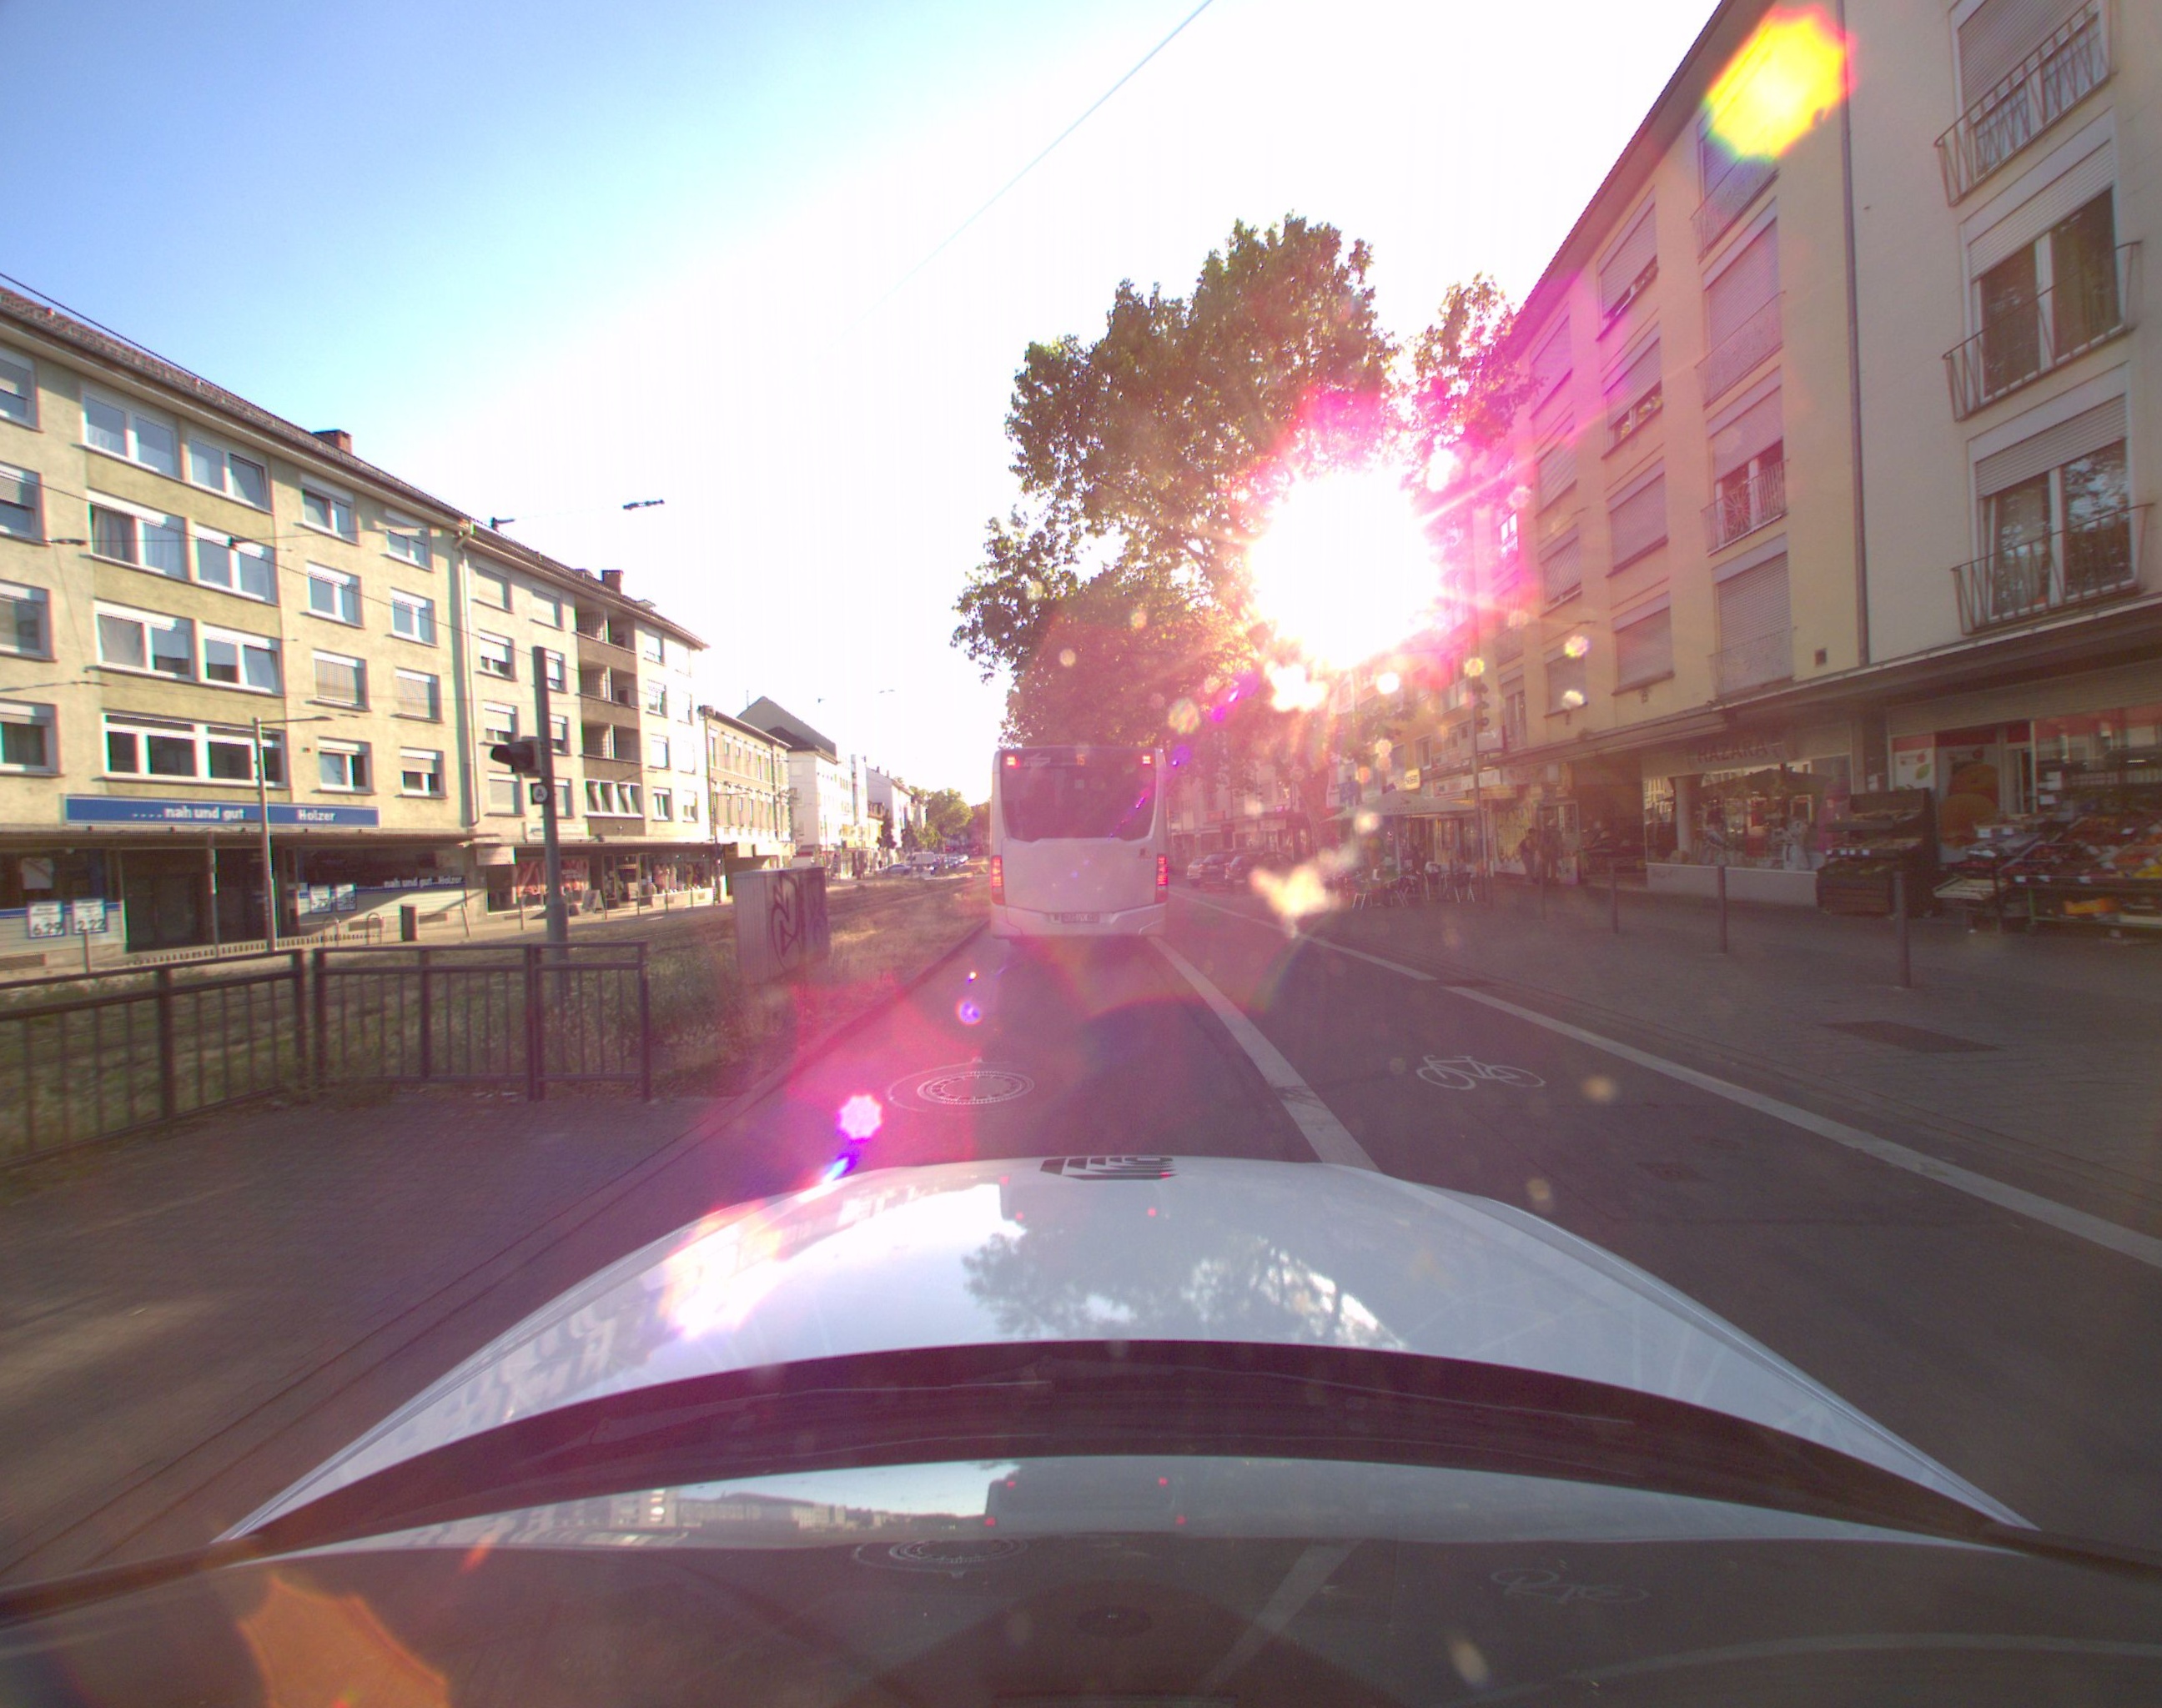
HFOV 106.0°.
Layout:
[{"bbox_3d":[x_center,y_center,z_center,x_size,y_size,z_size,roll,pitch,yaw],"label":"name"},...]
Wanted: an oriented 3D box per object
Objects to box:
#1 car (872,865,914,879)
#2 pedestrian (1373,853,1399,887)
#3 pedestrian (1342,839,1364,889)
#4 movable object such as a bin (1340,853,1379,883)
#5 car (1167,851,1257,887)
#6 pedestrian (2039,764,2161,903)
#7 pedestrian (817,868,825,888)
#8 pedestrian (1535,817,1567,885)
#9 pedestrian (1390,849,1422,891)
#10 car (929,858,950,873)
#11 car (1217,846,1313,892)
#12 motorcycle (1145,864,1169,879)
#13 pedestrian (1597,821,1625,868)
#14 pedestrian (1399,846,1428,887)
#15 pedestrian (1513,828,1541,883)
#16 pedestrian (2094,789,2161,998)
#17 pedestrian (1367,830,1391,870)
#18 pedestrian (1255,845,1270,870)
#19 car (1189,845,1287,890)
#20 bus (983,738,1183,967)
[{"bbox_3d":[-22.853,2.190,98.940,4.574,1.412,1.977,-2,0,-38],"label":"car"},{"bbox_3d":[10.019,0.521,26.760,0.581,1.115,0.750,-1,0,-1],"label":"pedestrian"},{"bbox_3d":[10.169,0.386,30.466,0.518,1.832,0.471,-2,-1,-23],"label":"pedestrian"},{"bbox_3d":[9.544,0.469,27.932,0.930,1.023,0.833,-1,0,-23],"label":"movable object such as a bin"},{"bbox_3d":[6.170,0.696,38.104,4.199,1.451,1.788,-2,0,-39],"label":"car"},{"bbox_3d":[13.422,-0.257,10.668,0.681,1.744,0.881,-1,0,2],"label":"pedestrian"},{"bbox_3d":[-22.662,2.084,70.988,0.424,1.713,0.508,-3,-1,2],"label":"pedestrian"},{"bbox_3d":[12.690,-0.081,21.984,0.629,1.804,0.631,-3,-1,34],"label":"pedestrian"},{"bbox_3d":[9.731,0.472,24.400,0.604,1.225,0.745,-2,0,-1],"label":"pedestrian"},{"bbox_3d":[-15.975,1.323,92.040,1.717,1.509,3.475,-5,0,0],"label":"car"},{"bbox_3d":[6.947,0.561,30.592,3.628,1.540,1.721,-2,0,-42],"label":"car"},{"bbox_3d":[5.174,1.179,55.502,1.567,0.892,0.544,-3,0,-5],"label":"motorcycle"},{"bbox_3d":[15.019,-0.275,23.080,0.424,1.296,0.508,-3,0,2],"label":"pedestrian"},{"bbox_3d":[10.621,0.387,26.038,0.581,1.275,0.758,-1,0,-1],"label":"pedestrian"},{"bbox_3d":[12.921,0.044,23.598,0.618,1.546,0.641,-3,-1,29],"label":"pedestrian"},{"bbox_3d":[8.514,0.284,6.221,0.632,1.586,0.627,-5,-1,4],"label":"pedestrian"},{"bbox_3d":[14.001,-0.196,38.268,0.703,1.791,0.789,-6,-1,4],"label":"pedestrian"},{"bbox_3d":[12.942,0.252,58.086,0.778,1.794,0.764,-2,0,-1],"label":"pedestrian"},{"bbox_3d":[6.552,0.536,33.827,4.174,1.681,1.788,-2,0,-42],"label":"car"},{"bbox_3d":[0.113,-0.032,14.715,2.668,3.083,7.116,-1,0,1],"label":"bus"}]
